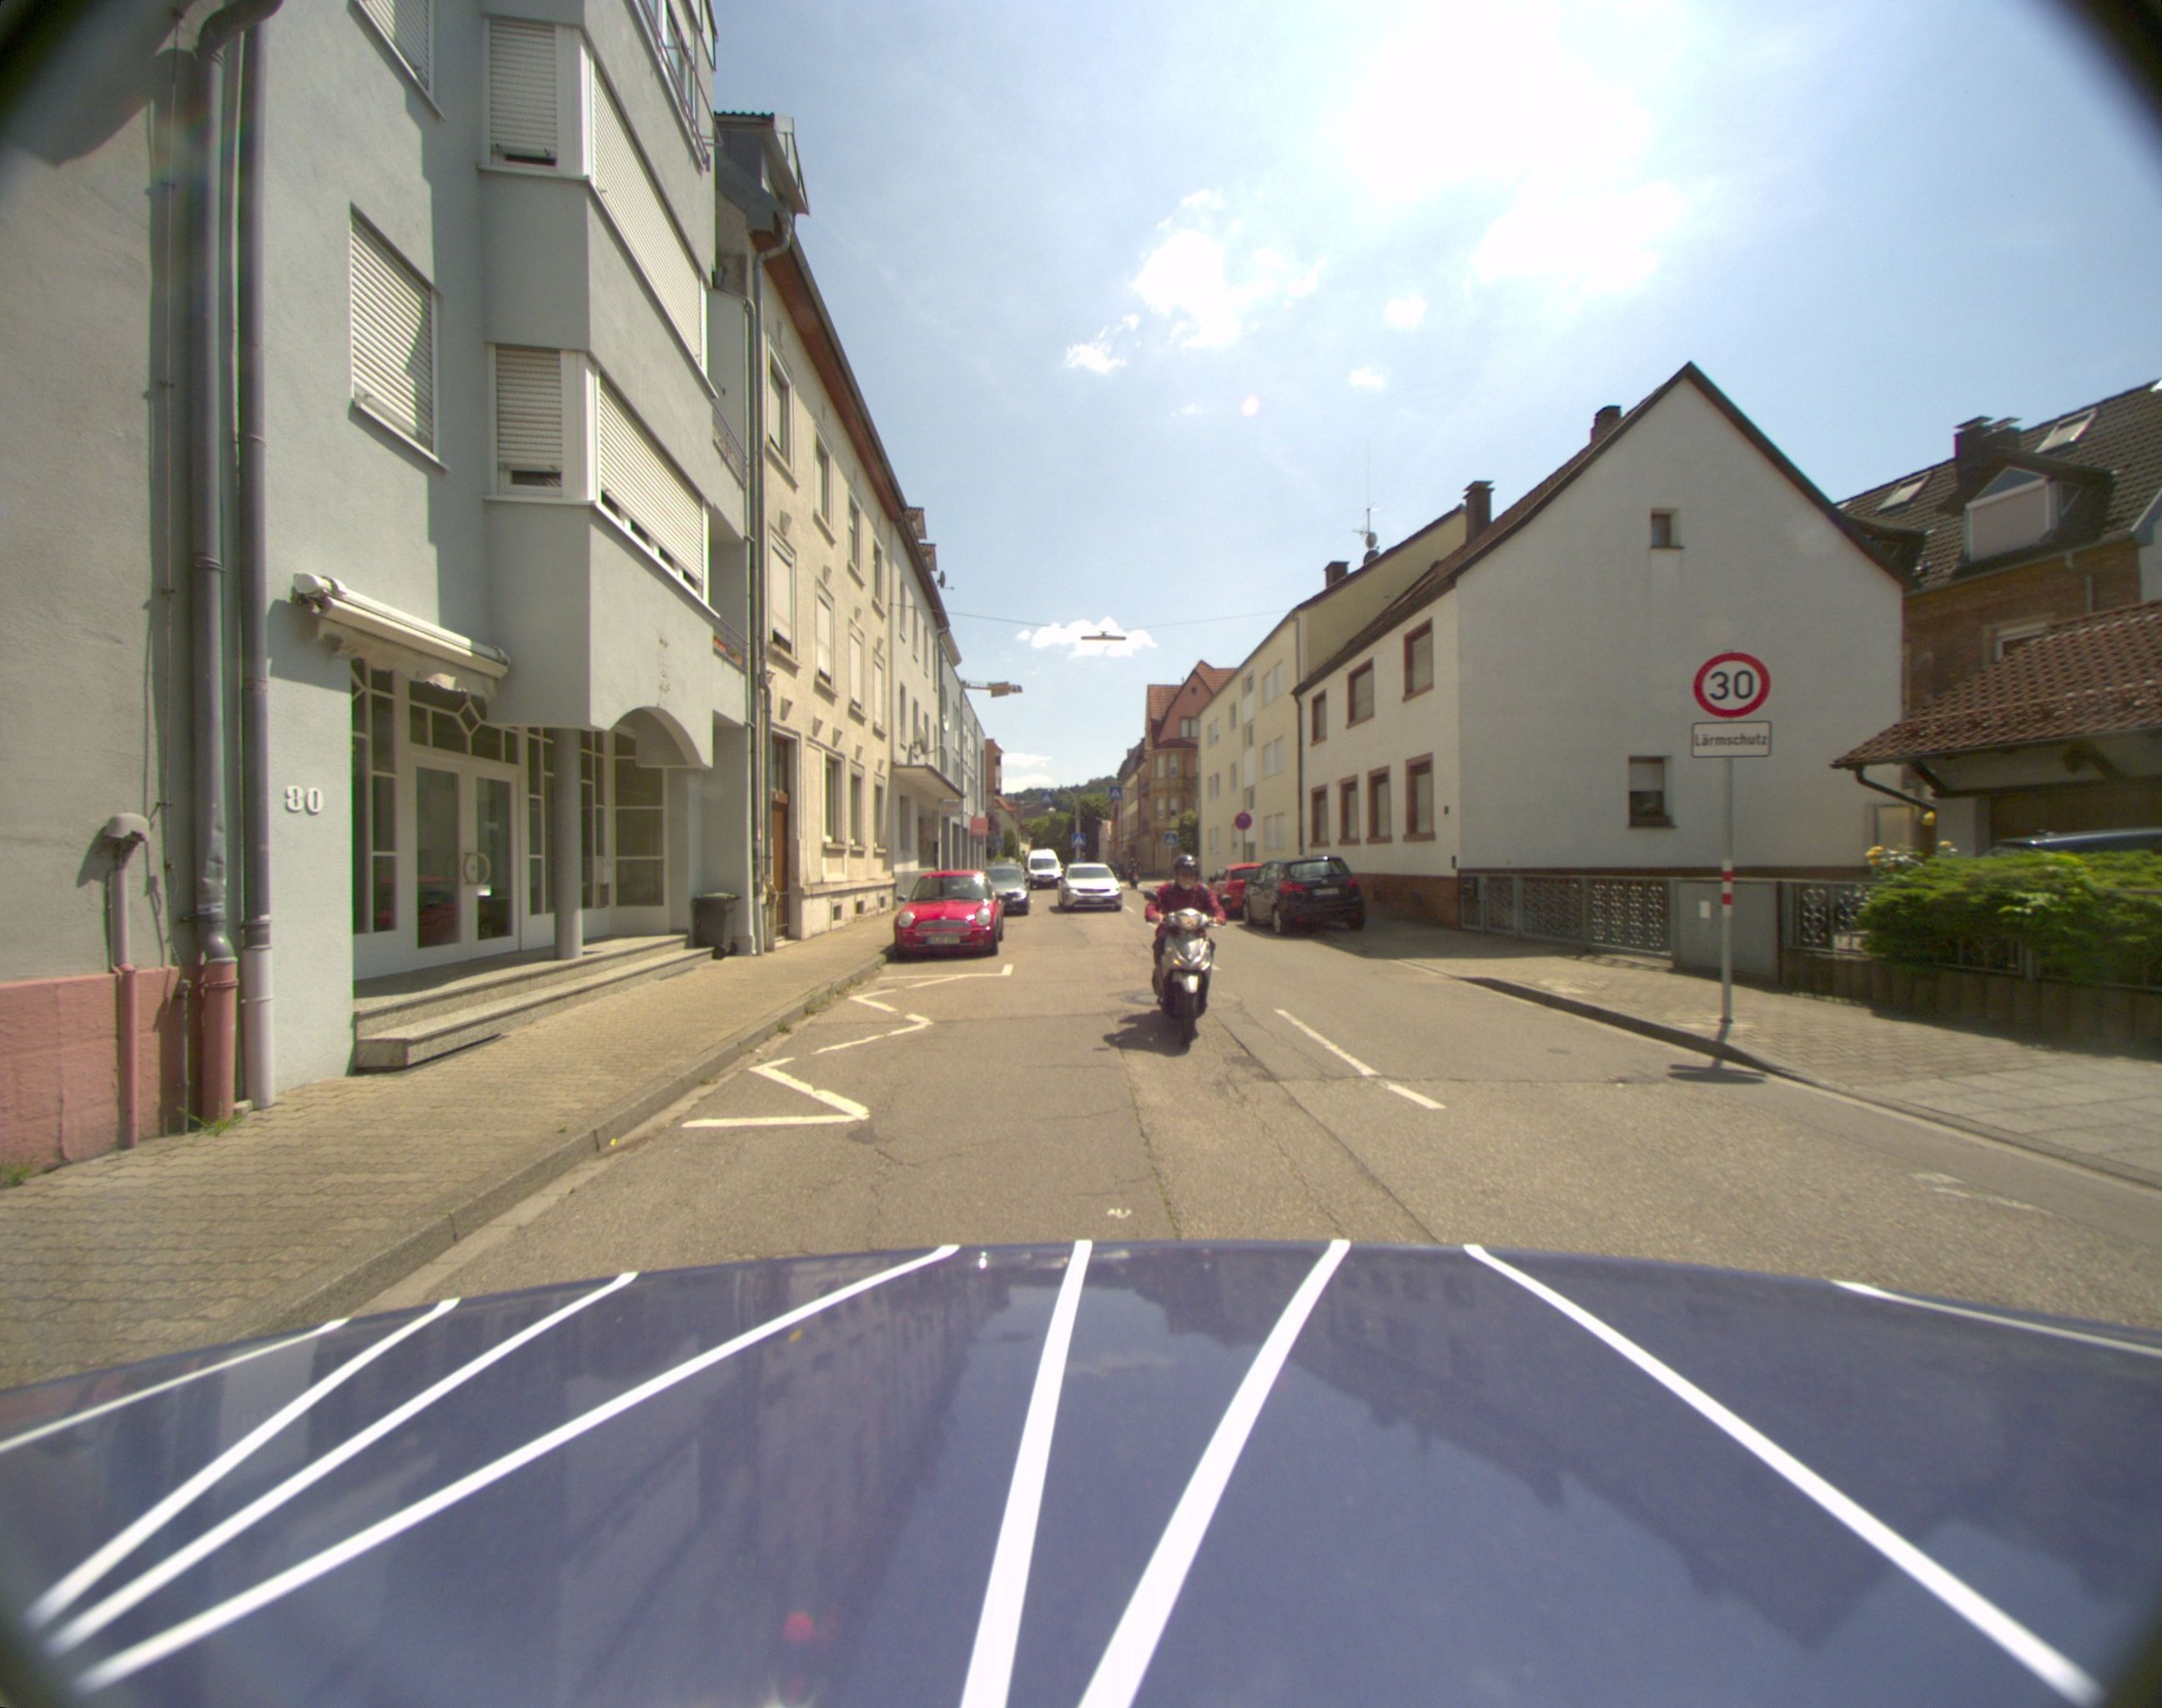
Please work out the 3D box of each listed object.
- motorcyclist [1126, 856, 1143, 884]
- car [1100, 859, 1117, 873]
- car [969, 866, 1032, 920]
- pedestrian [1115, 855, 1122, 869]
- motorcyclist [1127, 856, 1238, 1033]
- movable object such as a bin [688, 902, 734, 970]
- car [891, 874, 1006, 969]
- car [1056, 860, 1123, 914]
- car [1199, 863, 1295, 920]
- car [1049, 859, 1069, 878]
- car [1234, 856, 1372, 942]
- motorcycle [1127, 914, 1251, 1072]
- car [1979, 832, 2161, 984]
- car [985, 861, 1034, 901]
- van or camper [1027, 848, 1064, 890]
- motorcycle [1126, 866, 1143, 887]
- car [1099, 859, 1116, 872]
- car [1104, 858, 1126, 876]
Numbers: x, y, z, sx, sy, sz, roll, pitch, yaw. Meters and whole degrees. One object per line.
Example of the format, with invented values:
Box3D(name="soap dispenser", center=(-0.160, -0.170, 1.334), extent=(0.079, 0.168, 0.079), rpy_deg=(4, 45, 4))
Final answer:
Box3D(name="motorcyclist", center=(2.899, 0.866, 41.235), extent=(0.824, 1.500, 1.056), rpy_deg=(0, 0, -1))
Box3D(name="car", center=(2.935, 1.308, 81.697), extent=(1.639, 1.423, 4.018), rpy_deg=(1, 0, -1))
Box3D(name="car", center=(-2.380, 1.107, 23.322), extent=(1.734, 1.412, 4.543), rpy_deg=(-1, 0, -4))
Box3D(name="pedestrian", center=(5.023, 1.041, 100.972), extent=(0.770, 1.760, 0.763), rpy_deg=(-2, 0, -2))
Box3D(name="motorcyclist", center=(0.865, 0.750, 6.753), extent=(0.793, 1.431, 1.020), rpy_deg=(-1, 0, -1))
Box3D(name="movable object such as a bin", center=(-5.303, 1.167, 10.909), extent=(0.474, 0.929, 0.487), rpy_deg=(0, 0, -9))
Box3D(name="car", center=(-2.230, 1.089, 13.548), extent=(1.623, 1.377, 3.537), rpy_deg=(-1, 0, -4))
Box3D(name="car", center=(0.191, 0.977, 24.137), extent=(1.813, 1.512, 3.999), rpy_deg=(-1, 0, -4))
Box3D(name="car", center=(4.612, 0.994, 21.748), extent=(1.838, 1.408, 4.289), rpy_deg=(-1, 0, 0))
Box3D(name="car", center=(-2.408, 1.560, 84.215), extent=(1.998, 2.002, 4.000), rpy_deg=(-2, 0, 0))
Box3D(name="car", center=(4.761, 0.881, 16.909), extent=(1.799, 1.637, 3.944), rpy_deg=(-2, 0, -1))
Box3D(name="motorcycle", center=(0.885, 1.141, 6.802), extent=(0.760, 1.049, 1.991), rpy_deg=(-1, 0, -1))
Box3D(name="car", center=(12.194, 0.516, 7.841), extent=(3.554, 1.530, 1.641), rpy_deg=(-3, 0, 42))
Box3D(name="car", center=(-2.838, 1.041, 30.841), extent=(1.714, 1.499, 3.999), rpy_deg=(-1, 0, -2))
Box3D(name="van or camper", center=(-1.995, 0.847, 43.368), extent=(1.999, 2.273, 5.144), rpy_deg=(0, -1, -2))
Box3D(name="motorcycle", center=(2.890, 1.214, 41.182), extent=(0.689, 1.116, 2.027), rpy_deg=(0, 0, -1))
Box3D(name="car", center=(2.999, 1.327, 86.916), extent=(1.603, 1.433, 3.494), rpy_deg=(0, 0, -2))
Box3D(name="car", center=(2.987, 1.123, 67.211), extent=(1.787, 1.449, 4.634), rpy_deg=(0, 0, 0))
